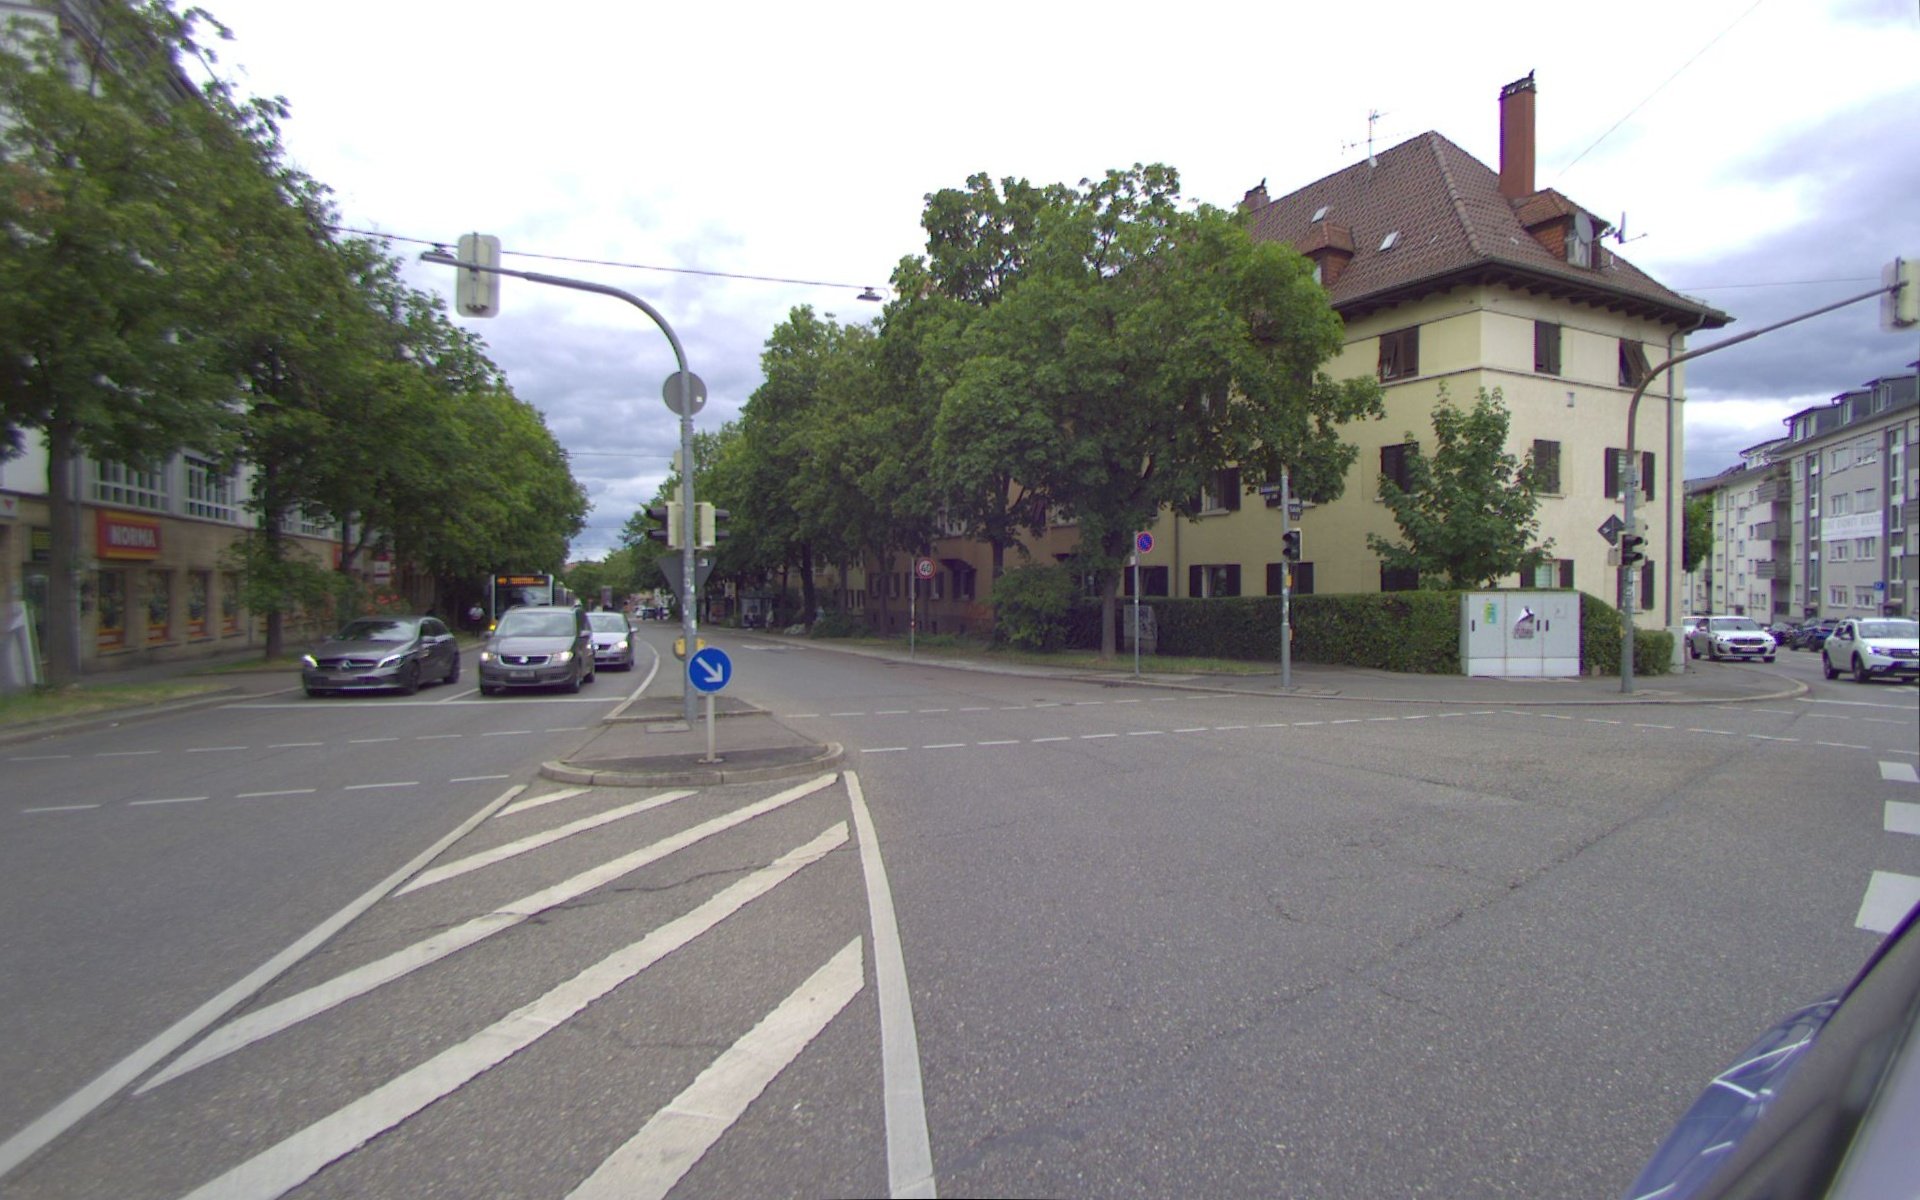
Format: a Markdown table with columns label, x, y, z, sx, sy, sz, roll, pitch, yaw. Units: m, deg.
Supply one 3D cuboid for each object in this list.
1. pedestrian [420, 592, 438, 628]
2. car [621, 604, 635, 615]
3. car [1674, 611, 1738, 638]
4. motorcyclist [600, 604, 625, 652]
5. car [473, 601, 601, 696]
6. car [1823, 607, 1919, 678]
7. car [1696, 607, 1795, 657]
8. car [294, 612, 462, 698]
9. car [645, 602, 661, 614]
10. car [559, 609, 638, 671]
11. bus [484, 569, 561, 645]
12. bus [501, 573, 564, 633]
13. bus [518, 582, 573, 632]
| label | x | y | z | sx | sy | sz | roll | pitch | yaw |
| --- | --- | --- | --- | --- | --- | --- | --- | --- | --- |
| pedestrian | -29.172 | 0.540 | 55.632 | 0.733 | 1.937 | 0.811 | 1 | -1 | -18 |
| car | -50.005 | 1.376 | 152.415 | 1.958 | 1.661 | 4.008 | 1 | 0 | -18 |
| car | 40.105 | 1.294 | 54.479 | 1.862 | 1.372 | 4.112 | -1 | -1 | 24 |
| motorcyclist | -10.616 | 0.846 | 30.955 | 0.694 | 1.436 | 1.012 | 1 | -1 | -19 |
| car | -8.247 | 0.860 | 20.083 | 1.674 | 1.659 | 4.207 | -1 | 0 | -13 |
| car | 22.054 | 0.950 | 23.729 | 1.883 | 1.529 | 4.125 | 0 | -1 | 28 |
| car | 28.124 | 1.124 | 36.390 | 1.880 | 1.666 | 3.965 | -2 | -1 | 25 |
| car | -11.108 | 0.965 | 19.638 | 1.674 | 1.442 | 4.207 | 0 | 0 | -13 |
| car | -40.930 | 1.072 | 134.881 | 1.958 | 1.661 | 4.008 | 1 | 0 | -18 |
| car | -9.240 | 0.967 | 26.113 | 1.629 | 1.440 | 3.799 | 0 | 0 | -15 |
| bus | -20.302 | 0.299 | 47.455 | 2.803 | 3.148 | 10.421 | 1 | 0 | -21 |
| bus | -24.075 | 0.177 | 57.464 | 2.819 | 3.088 | 10.951 | 1 | 0 | -21 |
| bus | -30.651 | 0.523 | 75.321 | 3.373 | 3.384 | 12.861 | 1 | 0 | -21 |
